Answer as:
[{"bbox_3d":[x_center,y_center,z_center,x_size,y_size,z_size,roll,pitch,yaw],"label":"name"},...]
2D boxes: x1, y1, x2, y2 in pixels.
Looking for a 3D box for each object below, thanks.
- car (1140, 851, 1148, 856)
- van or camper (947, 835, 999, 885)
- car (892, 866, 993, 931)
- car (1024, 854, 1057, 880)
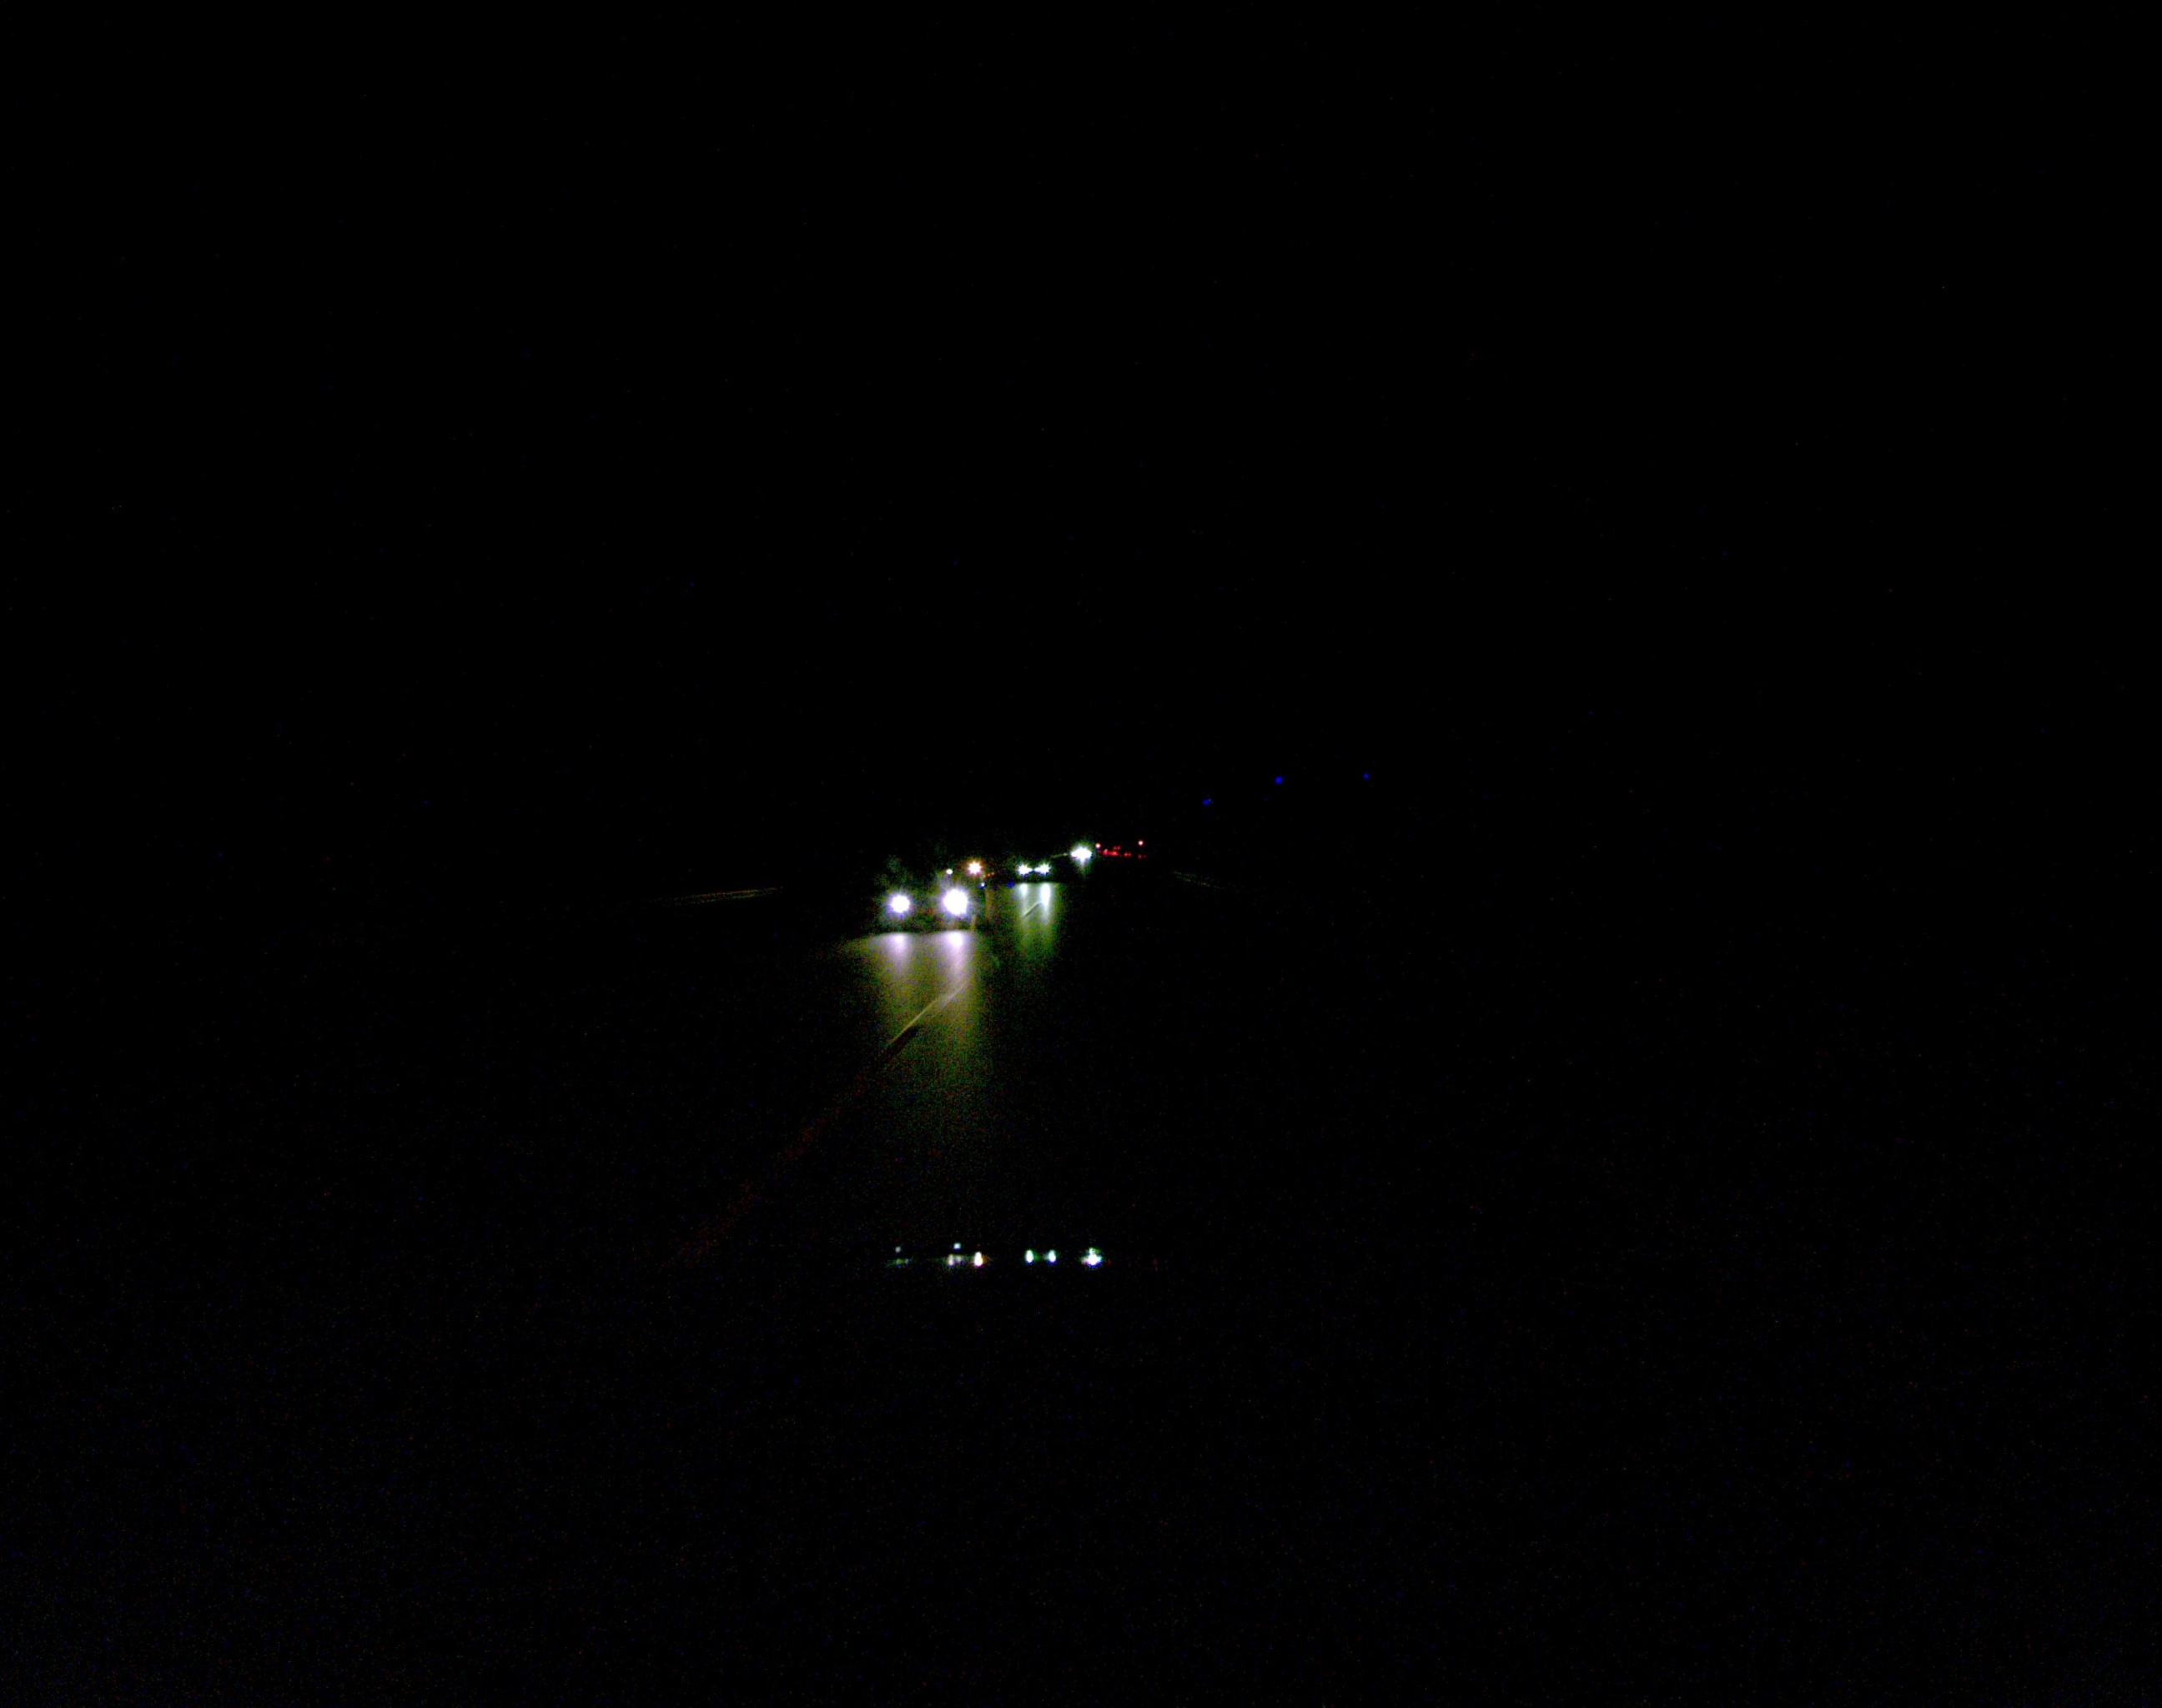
[{"bbox_3d":[19.686,-0.216,237.195,1.999,1.495,5.200,0,0,-1],"label":"car"},{"bbox_3d":[-6.534,0.322,46.732,2.213,2.755,6.803,-2,0,-1],"label":"van or camper"},{"bbox_3d":[-3.376,1.031,19.282,1.690,1.405,4.226,-2,-1,1],"label":"car"},{"bbox_3d":[-2.618,0.793,49.984,1.795,1.532,4.225,-3,0,1],"label":"car"}]
